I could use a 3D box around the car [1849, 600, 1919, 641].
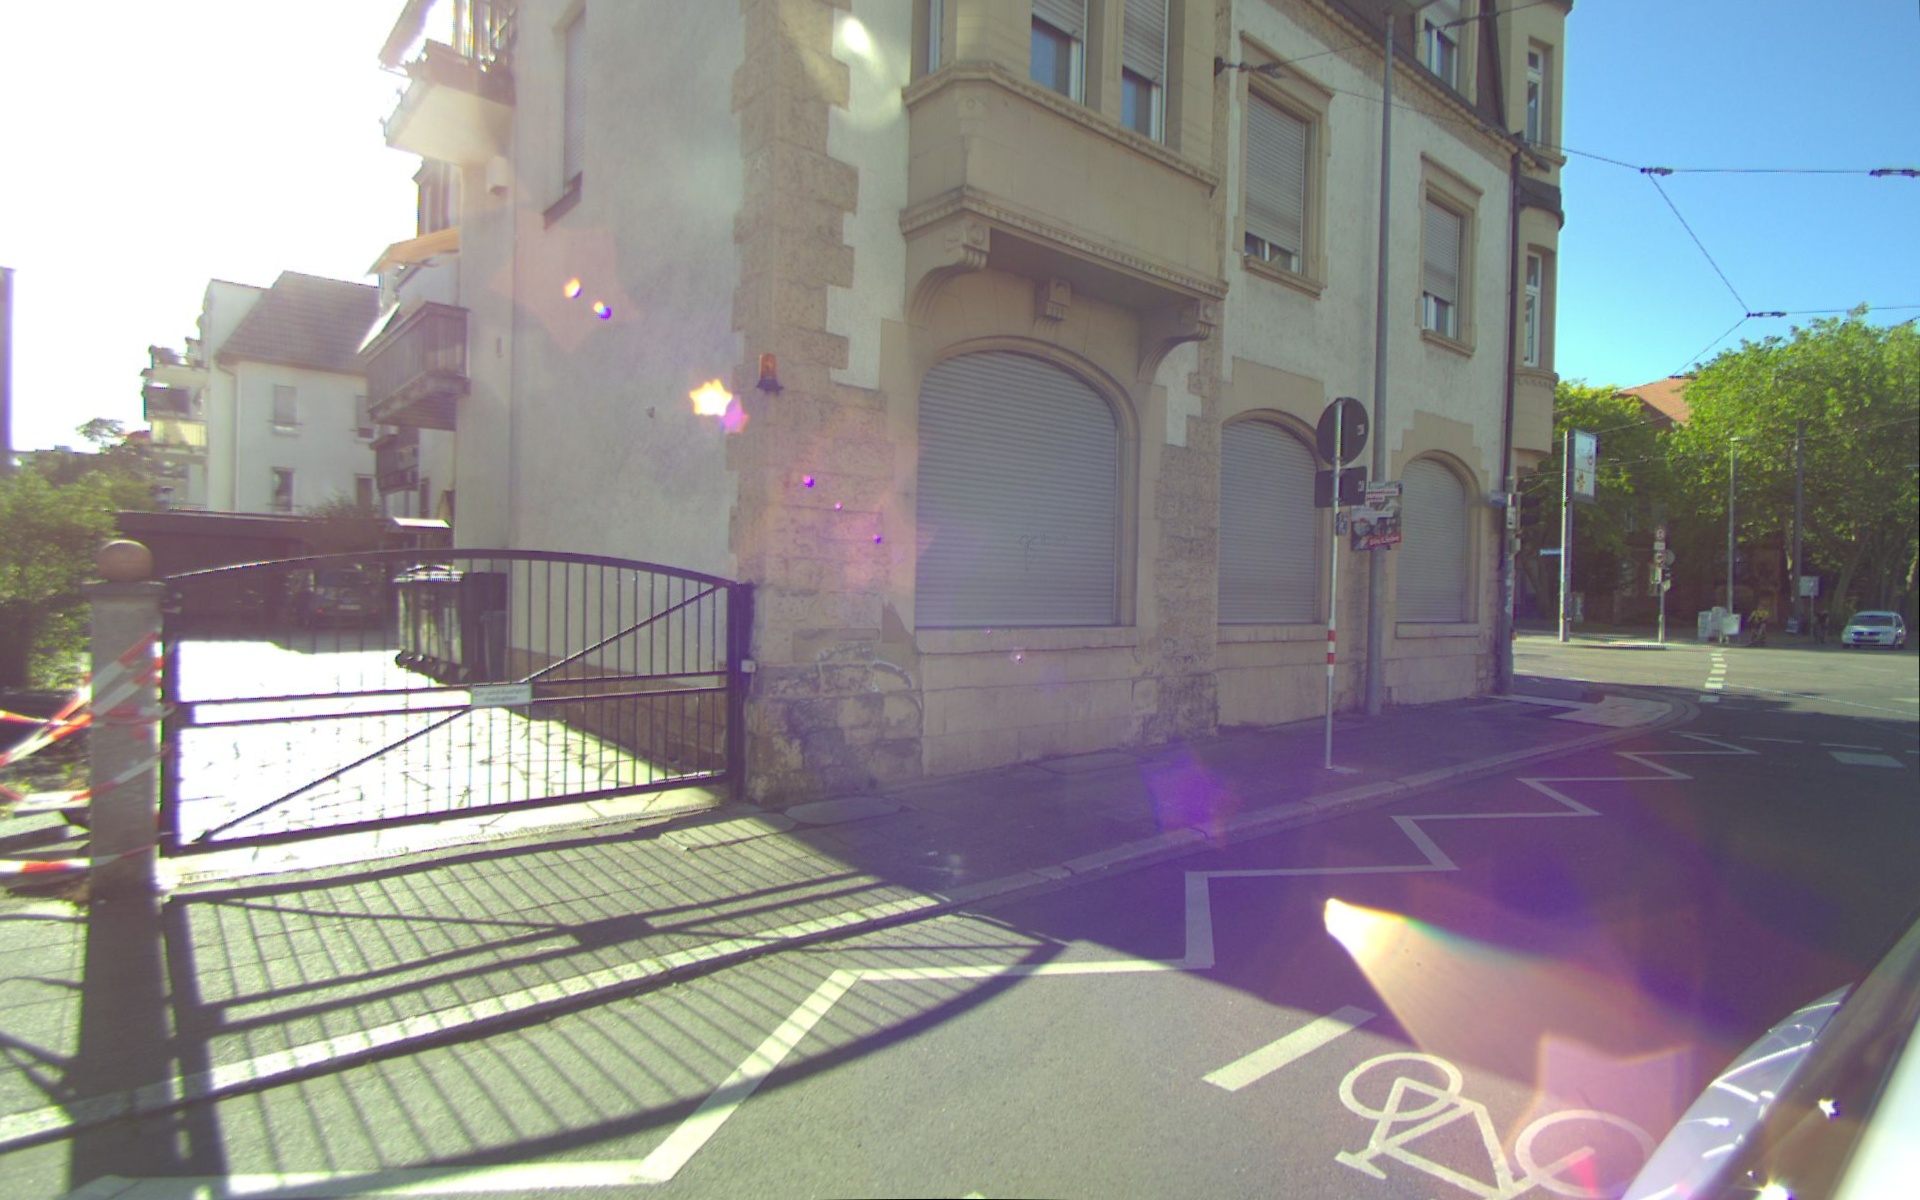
[{"bbox_3d":[39.276,0.850,42.820,4.491,1.639,1.910,2,-1,-41],"label":"car"}]

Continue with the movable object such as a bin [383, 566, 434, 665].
[{"bbox_3d":[-7.990,0.210,14.660,0.517,1.384,0.646,1,1,-40],"label":"movable object such as a bin"}]

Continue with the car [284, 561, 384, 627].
[{"bbox_3d":[-15.801,-0.178,25.474,1.624,1.523,3.504,1,1,-40],"label":"car"}]

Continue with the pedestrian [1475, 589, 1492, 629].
[{"bbox_3d":[23.476,0.385,45.394,0.664,1.768,0.481,1,0,29],"label":"pedestrian"}]

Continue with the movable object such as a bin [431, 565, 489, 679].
[{"bbox_3d":[-6.228,0.259,12.596,0.517,1.384,0.533,1,1,-41],"label":"movable object such as a bin"}]

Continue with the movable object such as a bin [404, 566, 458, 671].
[{"bbox_3d":[-7.130,0.236,13.643,0.517,1.384,0.573,1,1,-41],"label":"movable object such as a bin"}]

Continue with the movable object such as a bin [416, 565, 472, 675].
[{"bbox_3d":[-6.712,0.247,13.169,0.517,1.384,0.573,1,1,-41],"label":"movable object such as a bin"}]

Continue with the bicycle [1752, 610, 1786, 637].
[{"bbox_3d":[33.198,0.970,41.530,2.062,1.047,0.690,4,-1,-41],"label":"bicycle"}]

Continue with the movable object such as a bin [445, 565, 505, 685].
[{"bbox_3d":[-5.830,0.290,12.166,0.524,1.398,0.522,1,1,-41],"label":"movable object such as a bin"}]

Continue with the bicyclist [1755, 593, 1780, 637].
[{"bbox_3d":[33.026,0.618,41.380,0.611,1.751,0.669,4,-1,-41],"label":"bicyclist"}]

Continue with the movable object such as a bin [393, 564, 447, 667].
[{"bbox_3d":[-7.541,0.202,14.124,0.517,1.384,0.646,1,1,-40],"label":"movable object such as a bin"}]
